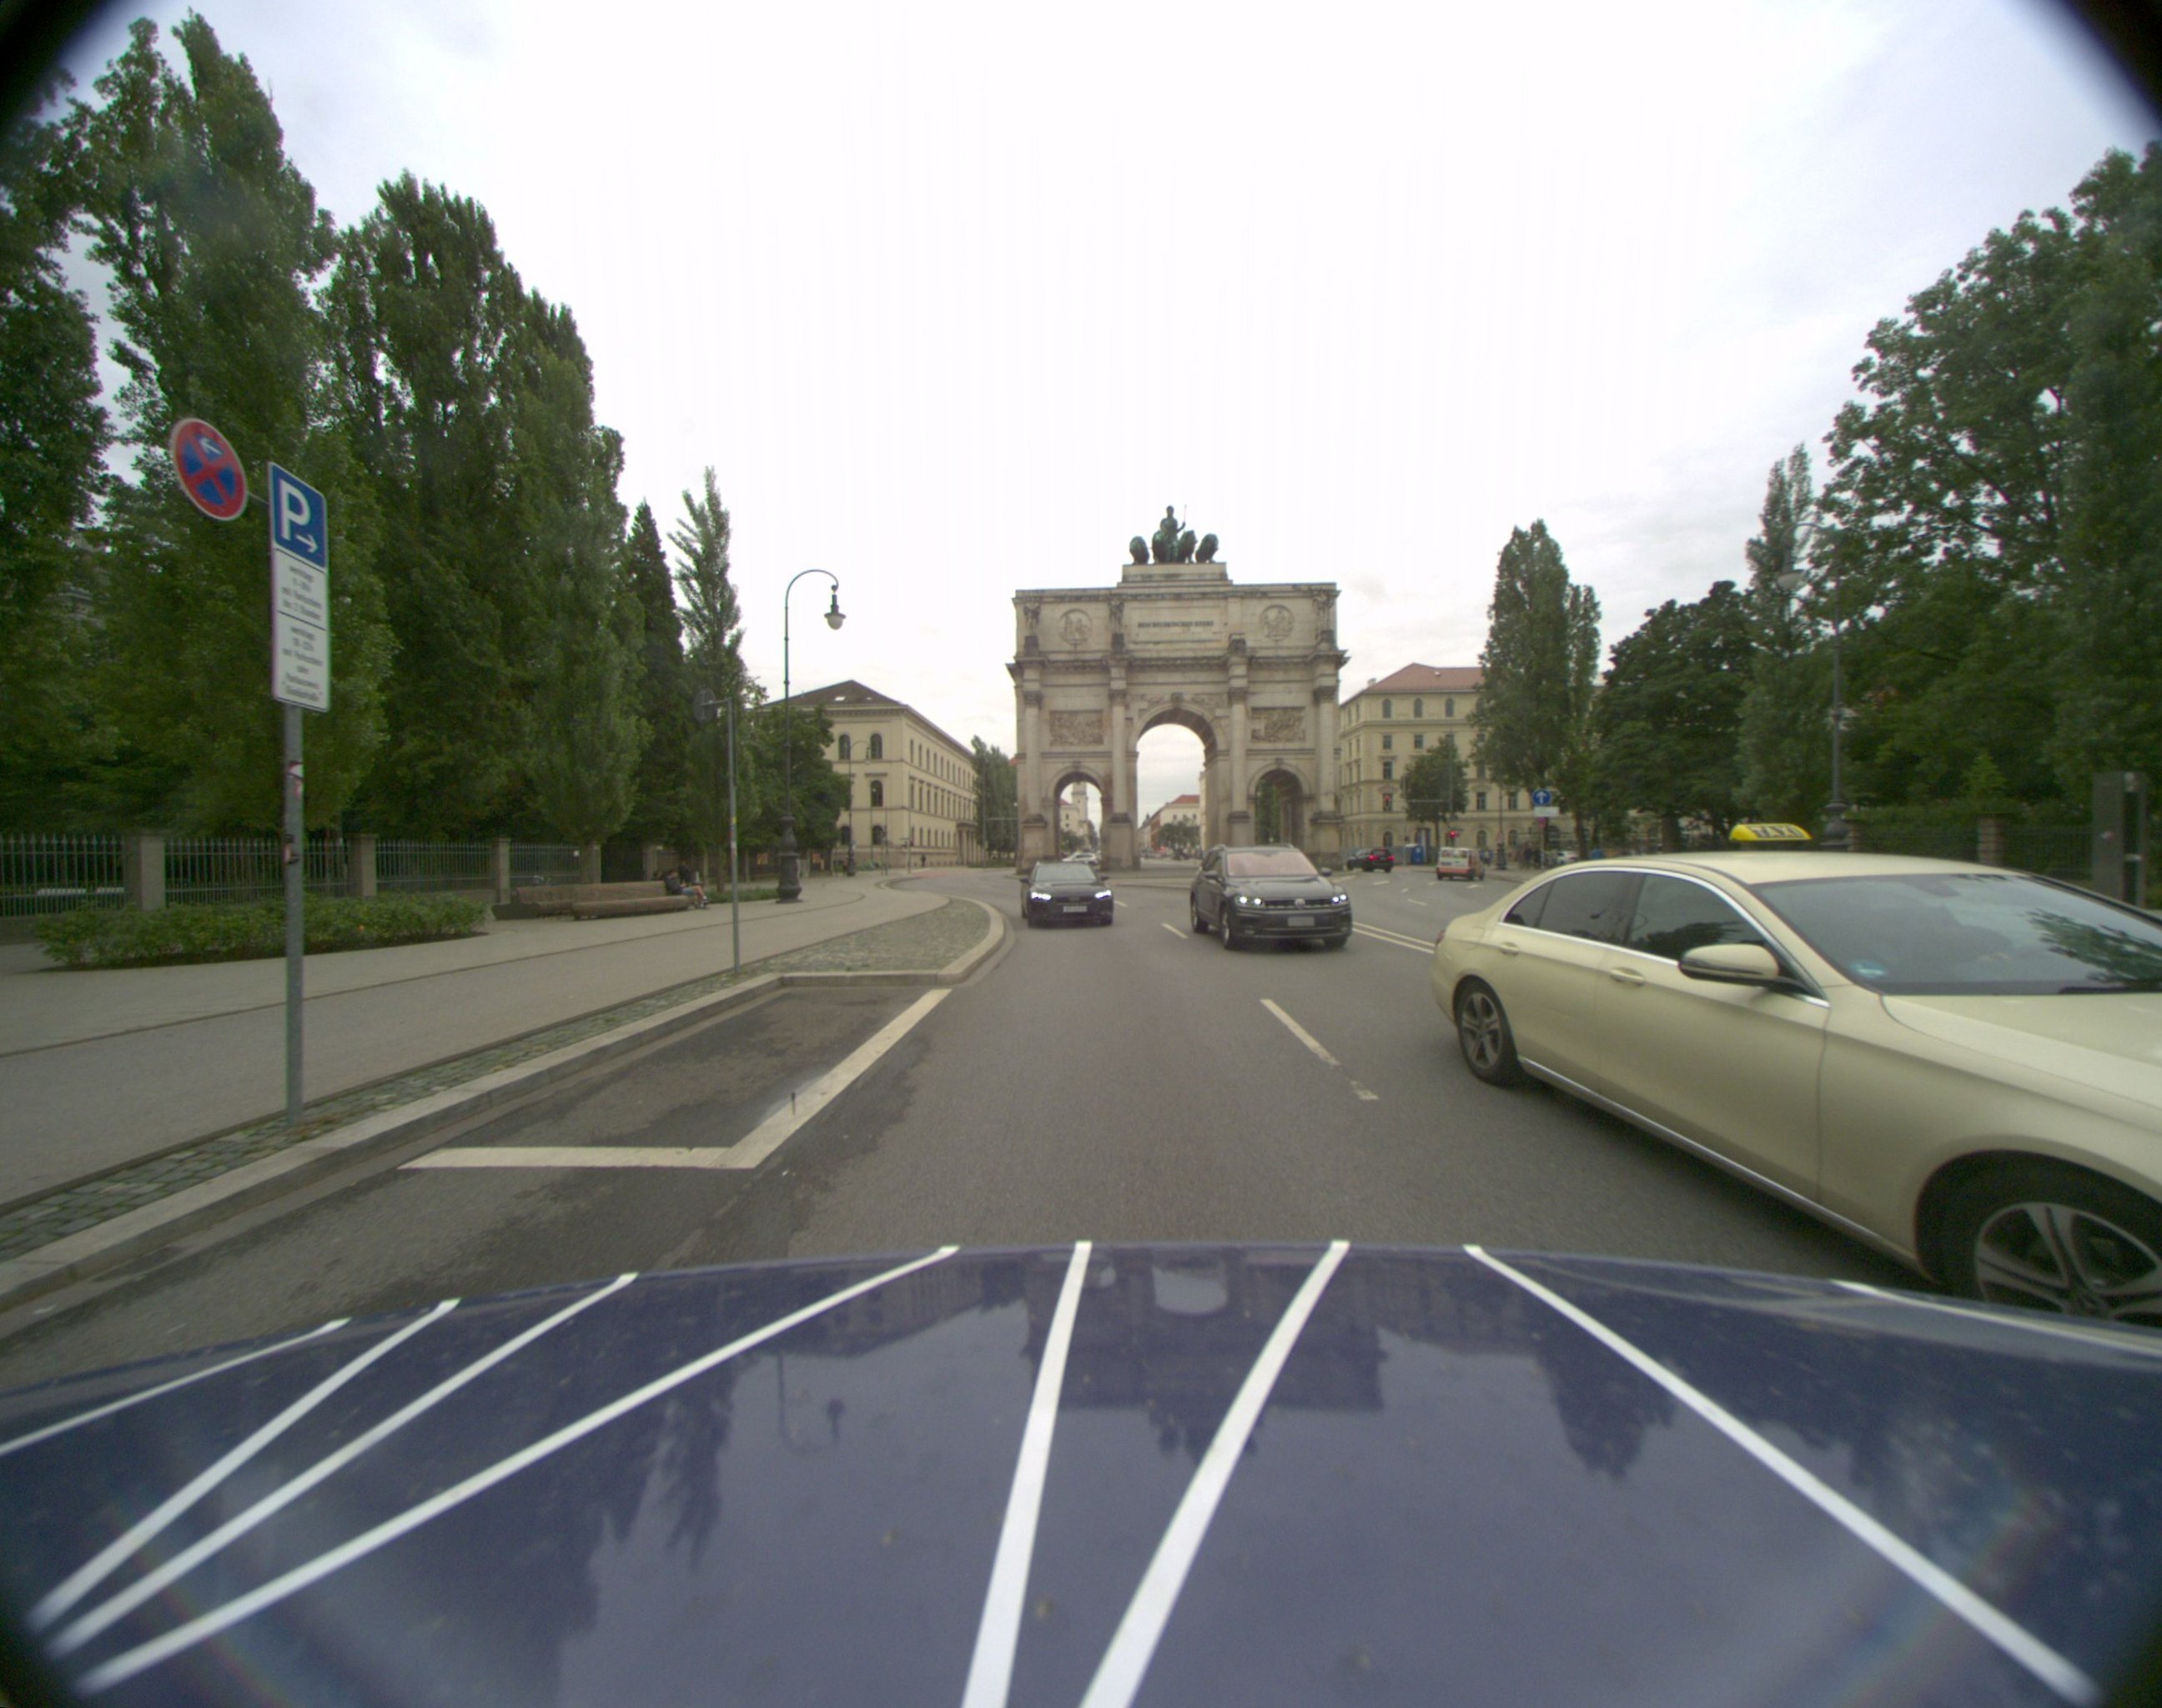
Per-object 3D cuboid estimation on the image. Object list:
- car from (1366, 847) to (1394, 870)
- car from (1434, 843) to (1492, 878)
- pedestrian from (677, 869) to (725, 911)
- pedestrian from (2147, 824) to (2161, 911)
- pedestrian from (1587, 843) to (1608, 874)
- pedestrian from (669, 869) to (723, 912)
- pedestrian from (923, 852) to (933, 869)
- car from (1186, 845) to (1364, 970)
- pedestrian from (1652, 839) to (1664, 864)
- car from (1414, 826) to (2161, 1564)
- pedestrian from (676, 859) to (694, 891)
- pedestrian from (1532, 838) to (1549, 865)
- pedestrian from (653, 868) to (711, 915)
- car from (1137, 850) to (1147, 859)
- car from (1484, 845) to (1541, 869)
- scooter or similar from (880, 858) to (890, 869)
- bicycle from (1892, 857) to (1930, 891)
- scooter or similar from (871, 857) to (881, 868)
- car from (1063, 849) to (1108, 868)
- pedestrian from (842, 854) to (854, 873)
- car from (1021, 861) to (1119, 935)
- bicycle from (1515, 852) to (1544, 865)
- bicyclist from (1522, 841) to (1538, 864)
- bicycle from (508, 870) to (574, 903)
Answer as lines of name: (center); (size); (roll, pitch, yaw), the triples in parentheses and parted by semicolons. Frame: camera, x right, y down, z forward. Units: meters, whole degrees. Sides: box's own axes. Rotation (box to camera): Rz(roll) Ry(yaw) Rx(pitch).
car: (22.598, 0.326, 57.512); (1.783, 1.662, 4.005); (-1, 1, 18)
car: (22.273, 0.337, 44.192); (1.999, 1.844, 5.000); (1, 2, 39)
pedestrian: (-11.901, 1.105, 23.805); (1.268, 1.209, 0.574); (-3, 1, -28)
pedestrian: (21.279, 0.255, 14.378); (0.846, 1.668, 0.967); (-1, 1, 6)
pedestrian: (30.265, 0.283, 44.552); (0.917, 1.775, 0.752); (-2, 1, -37)
pedestrian: (-11.665, 1.093, 23.047); (1.371, 1.200, 0.806); (-3, 1, -26)
pedestrian: (-18.405, 0.758, 91.288); (0.944, 2.002, 1.003); (-1, 1, 3)
car: (3.010, 0.728, 12.826); (1.953, 1.615, 4.411); (-3, 1, 2)
pedestrian: (46.537, -0.218, 61.271); (0.533, 2.002, 0.594); (-1, 1, -8)
car: (3.360, 0.720, 3.169); (1.919, 1.566, 4.689); (-3, 1, 1)
pedestrian: (-20.764, 1.101, 39.839); (0.591, 1.611, 0.536); (-2, 1, 2)
pedestrian: (34.243, -0.159, 56.621); (0.796, 2.002, 0.754); (-2, 1, -33)
pedestrian: (-11.542, 1.066, 22.000); (1.331, 1.267, 0.807); (-3, 1, -20)
car: (14.494, 0.066, 179.663); (1.999, 2.002, 4.442); (-1, 0, 0)
car: (39.036, 0.273, 68.745); (3.996, 2.002, 2.000); (-1, 1, 2)
scooter or similar: (-21.325, 1.071, 82.775); (0.567, 1.135, 1.657); (-1, 1, 4)
bicycle: (27.289, 0.646, 24.983); (1.742, 1.058, 0.635); (-2, 1, -35)
scooter or similar: (-22.212, 0.869, 82.270); (0.567, 1.135, 1.657); (-1, 1, 4)
car: (0.463, 0.477, 80.333); (4.315, 1.846, 1.888); (-2, 1, -16)
pedestrian: (-19.874, 0.837, 64.878); (0.738, 1.589, 0.818); (-1, 1, 4)
car: (-0.397, 0.919, 17.803); (1.923, 1.320, 4.409); (-3, 1, -5)
bicycle: (33.312, 0.344, 56.466); (0.645, 0.968, 1.757); (-2, 1, -41)
bicyclist: (33.365, -0.129, 56.410); (0.645, 1.700, 0.858); (-2, 1, -40)
bicycle: (-21.824, 1.285, 30.809); (0.674, 1.232, 2.998); (0, 0, -4)
